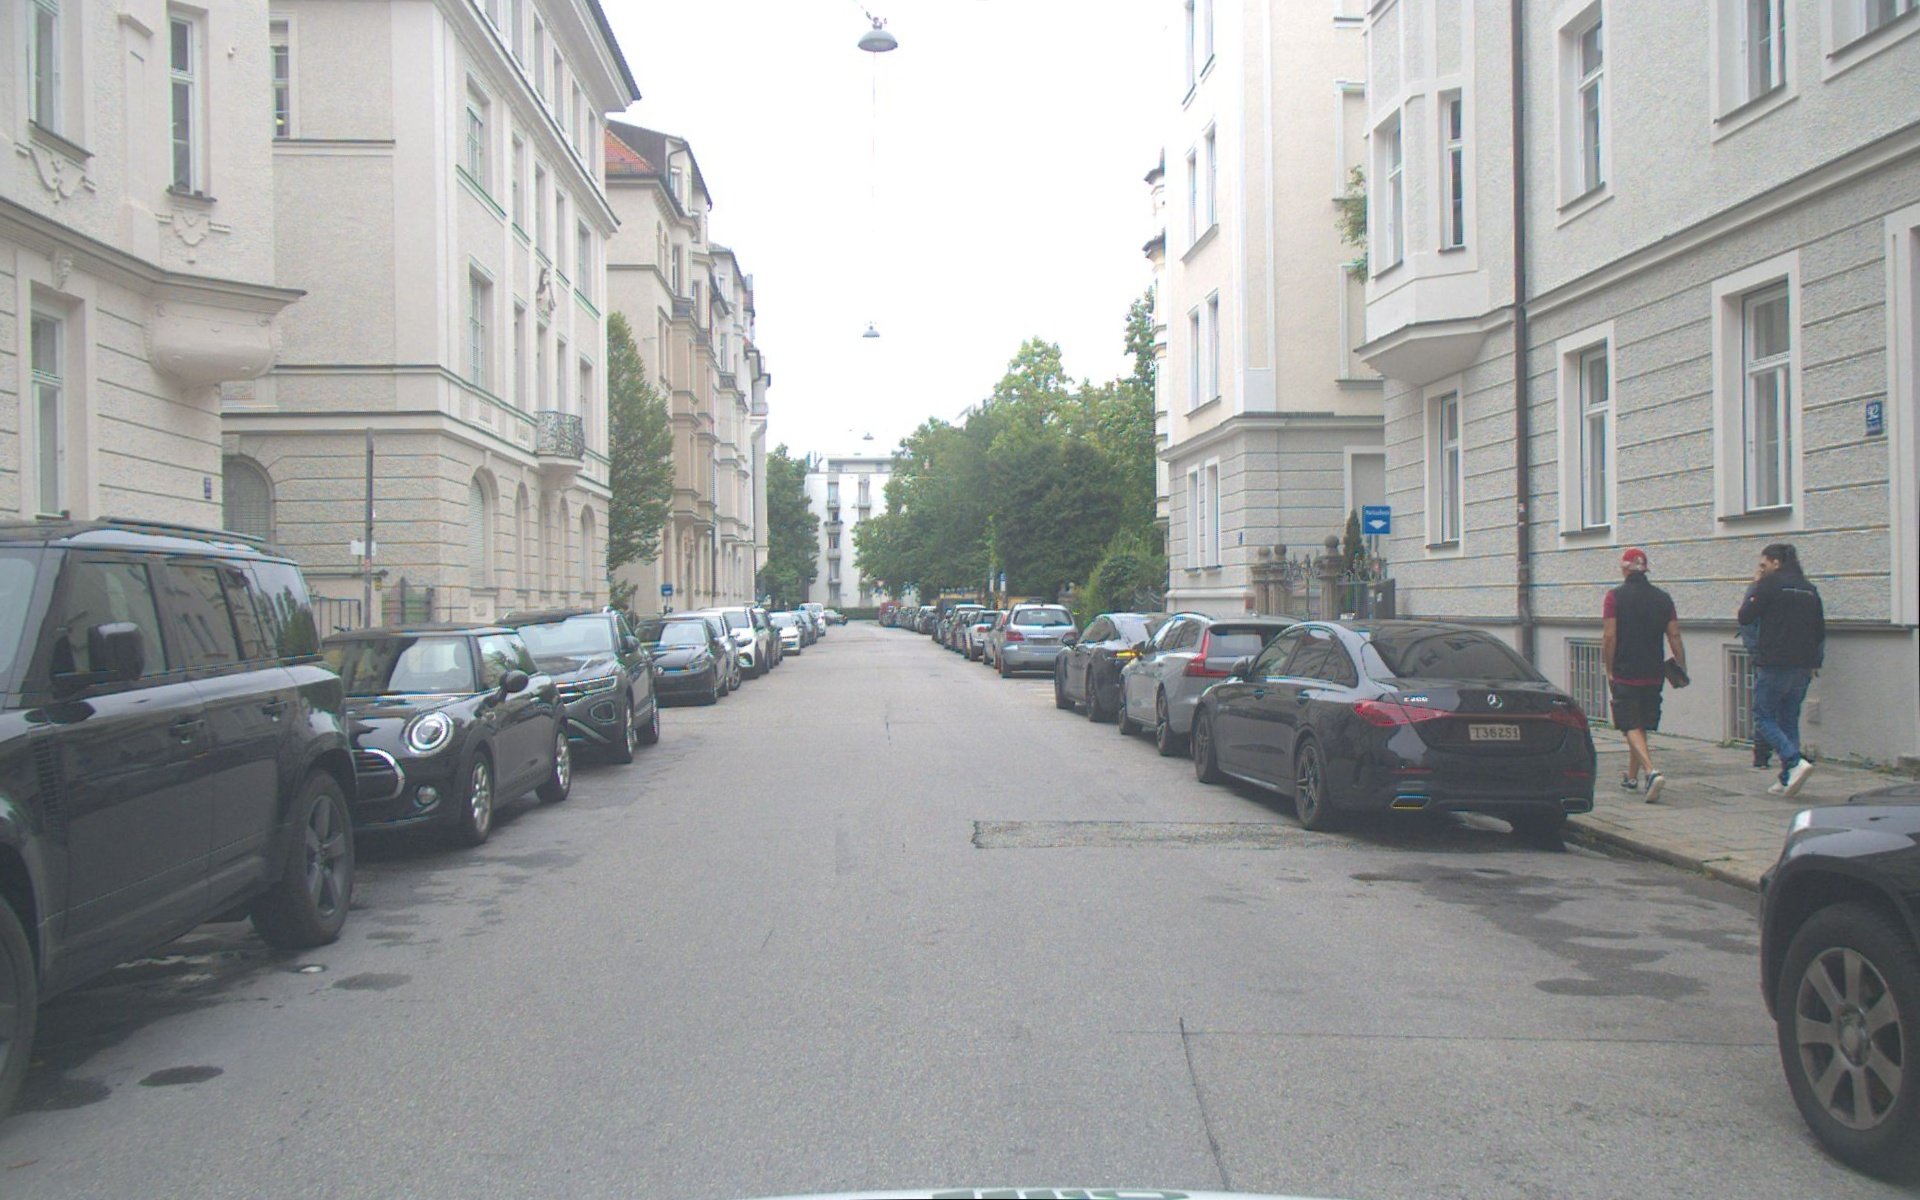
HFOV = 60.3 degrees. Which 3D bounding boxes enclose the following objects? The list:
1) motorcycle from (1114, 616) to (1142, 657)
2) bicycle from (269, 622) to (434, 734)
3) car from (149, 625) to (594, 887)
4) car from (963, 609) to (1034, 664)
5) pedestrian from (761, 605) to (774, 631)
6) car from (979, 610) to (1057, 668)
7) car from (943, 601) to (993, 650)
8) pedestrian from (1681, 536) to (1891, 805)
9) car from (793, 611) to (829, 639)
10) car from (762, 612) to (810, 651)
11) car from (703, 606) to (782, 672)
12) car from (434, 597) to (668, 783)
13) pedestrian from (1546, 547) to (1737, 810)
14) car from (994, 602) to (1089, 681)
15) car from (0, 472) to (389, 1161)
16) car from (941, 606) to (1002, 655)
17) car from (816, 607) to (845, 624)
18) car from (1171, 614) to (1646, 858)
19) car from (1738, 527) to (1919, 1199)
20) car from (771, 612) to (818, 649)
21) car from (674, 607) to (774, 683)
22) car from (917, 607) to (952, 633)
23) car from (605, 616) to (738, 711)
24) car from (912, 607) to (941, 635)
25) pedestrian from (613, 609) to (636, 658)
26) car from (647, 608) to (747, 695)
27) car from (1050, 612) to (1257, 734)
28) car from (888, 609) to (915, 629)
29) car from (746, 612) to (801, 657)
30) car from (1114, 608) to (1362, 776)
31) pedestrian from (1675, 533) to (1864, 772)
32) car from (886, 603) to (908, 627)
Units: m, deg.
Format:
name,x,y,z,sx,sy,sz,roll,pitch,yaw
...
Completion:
name,x,y,z,sx,sy,sz,roll,pitch,yaw
motorcycle,4.867,1.037,47.868,0.595,1.132,1.964,-1,0,0
bicycle,-7.743,0.955,21.231,1.129,1.264,2.715,3,-1,-2
car,-3.998,0.965,12.050,1.799,1.418,4.243,-2,0,-2
car,1.072,1.039,48.205,1.749,1.531,4.062,0,0,-3
pedestrian,-12.855,1.210,110.444,0.777,1.708,0.699,-1,0,-8
car,1.465,0.996,43.115,1.719,1.431,3.449,0,0,-3
car,0.277,1.020,65.484,1.688,1.800,4.410,2,-1,-3
pedestrian,5.957,0.483,11.993,0.865,1.817,1.110,-2,0,-3
car,-8.553,1.426,95.106,1.800,1.463,4.272,-3,0,-3
car,-7.212,1.273,68.971,1.797,1.459,4.549,-2,0,-4
car,-5.768,0.996,44.265,1.800,1.647,4.241,0,0,-4
car,-4.169,0.848,17.466,1.693,1.647,4.117,-2,0,-5
pedestrian,5.070,0.559,12.376,0.865,1.843,1.110,-2,0,-2
car,1.771,0.892,37.306,1.785,1.596,4.399,2,0,-1
car,-3.681,0.634,5.912,1.800,1.927,4.760,-2,0,-3
car,0.385,1.087,60.502,1.717,1.639,4.417,1,0,-7
car,-11.488,1.333,146.387,1.843,1.453,4.392,-1,0,-14
car,3.115,0.873,12.725,1.801,1.424,4.967,1,0,-7
car,3.364,0.695,2.935,1.764,1.704,4.186,2,0,-4
car,-7.418,1.358,74.574,1.800,1.461,4.242,-3,0,-3
car,-5.450,0.999,38.718,1.877,1.647,4.569,0,0,-3
car,-1.450,1.121,93.209,1.802,1.438,4.339,1,-1,-3
car,-4.972,1.045,29.011,1.757,1.440,4.275,-3,0,-3
car,-2.117,1.290,103.091,1.484,1.690,3.669,1,-1,-6
pedestrian,-11.359,1.129,56.016,0.660,1.654,0.630,-1,0,-6
car,-5.287,0.998,33.693,1.749,1.568,4.251,-3,0,-7
car,2.574,0.933,23.186,1.955,1.483,4.707,-1,0,-5
car,-4.666,1.550,131.670,1.803,1.545,3.941,1,-1,-7
car,-6.693,1.227,59.612,1.800,1.459,4.240,-2,0,-5
car,2.862,0.886,17.993,1.725,1.511,4.418,2,0,-3
pedestrian,6.699,0.418,13.754,0.866,1.844,1.110,-4,0,-2
car,-5.418,1.294,142.494,1.799,1.960,4.003,2,0,-1
